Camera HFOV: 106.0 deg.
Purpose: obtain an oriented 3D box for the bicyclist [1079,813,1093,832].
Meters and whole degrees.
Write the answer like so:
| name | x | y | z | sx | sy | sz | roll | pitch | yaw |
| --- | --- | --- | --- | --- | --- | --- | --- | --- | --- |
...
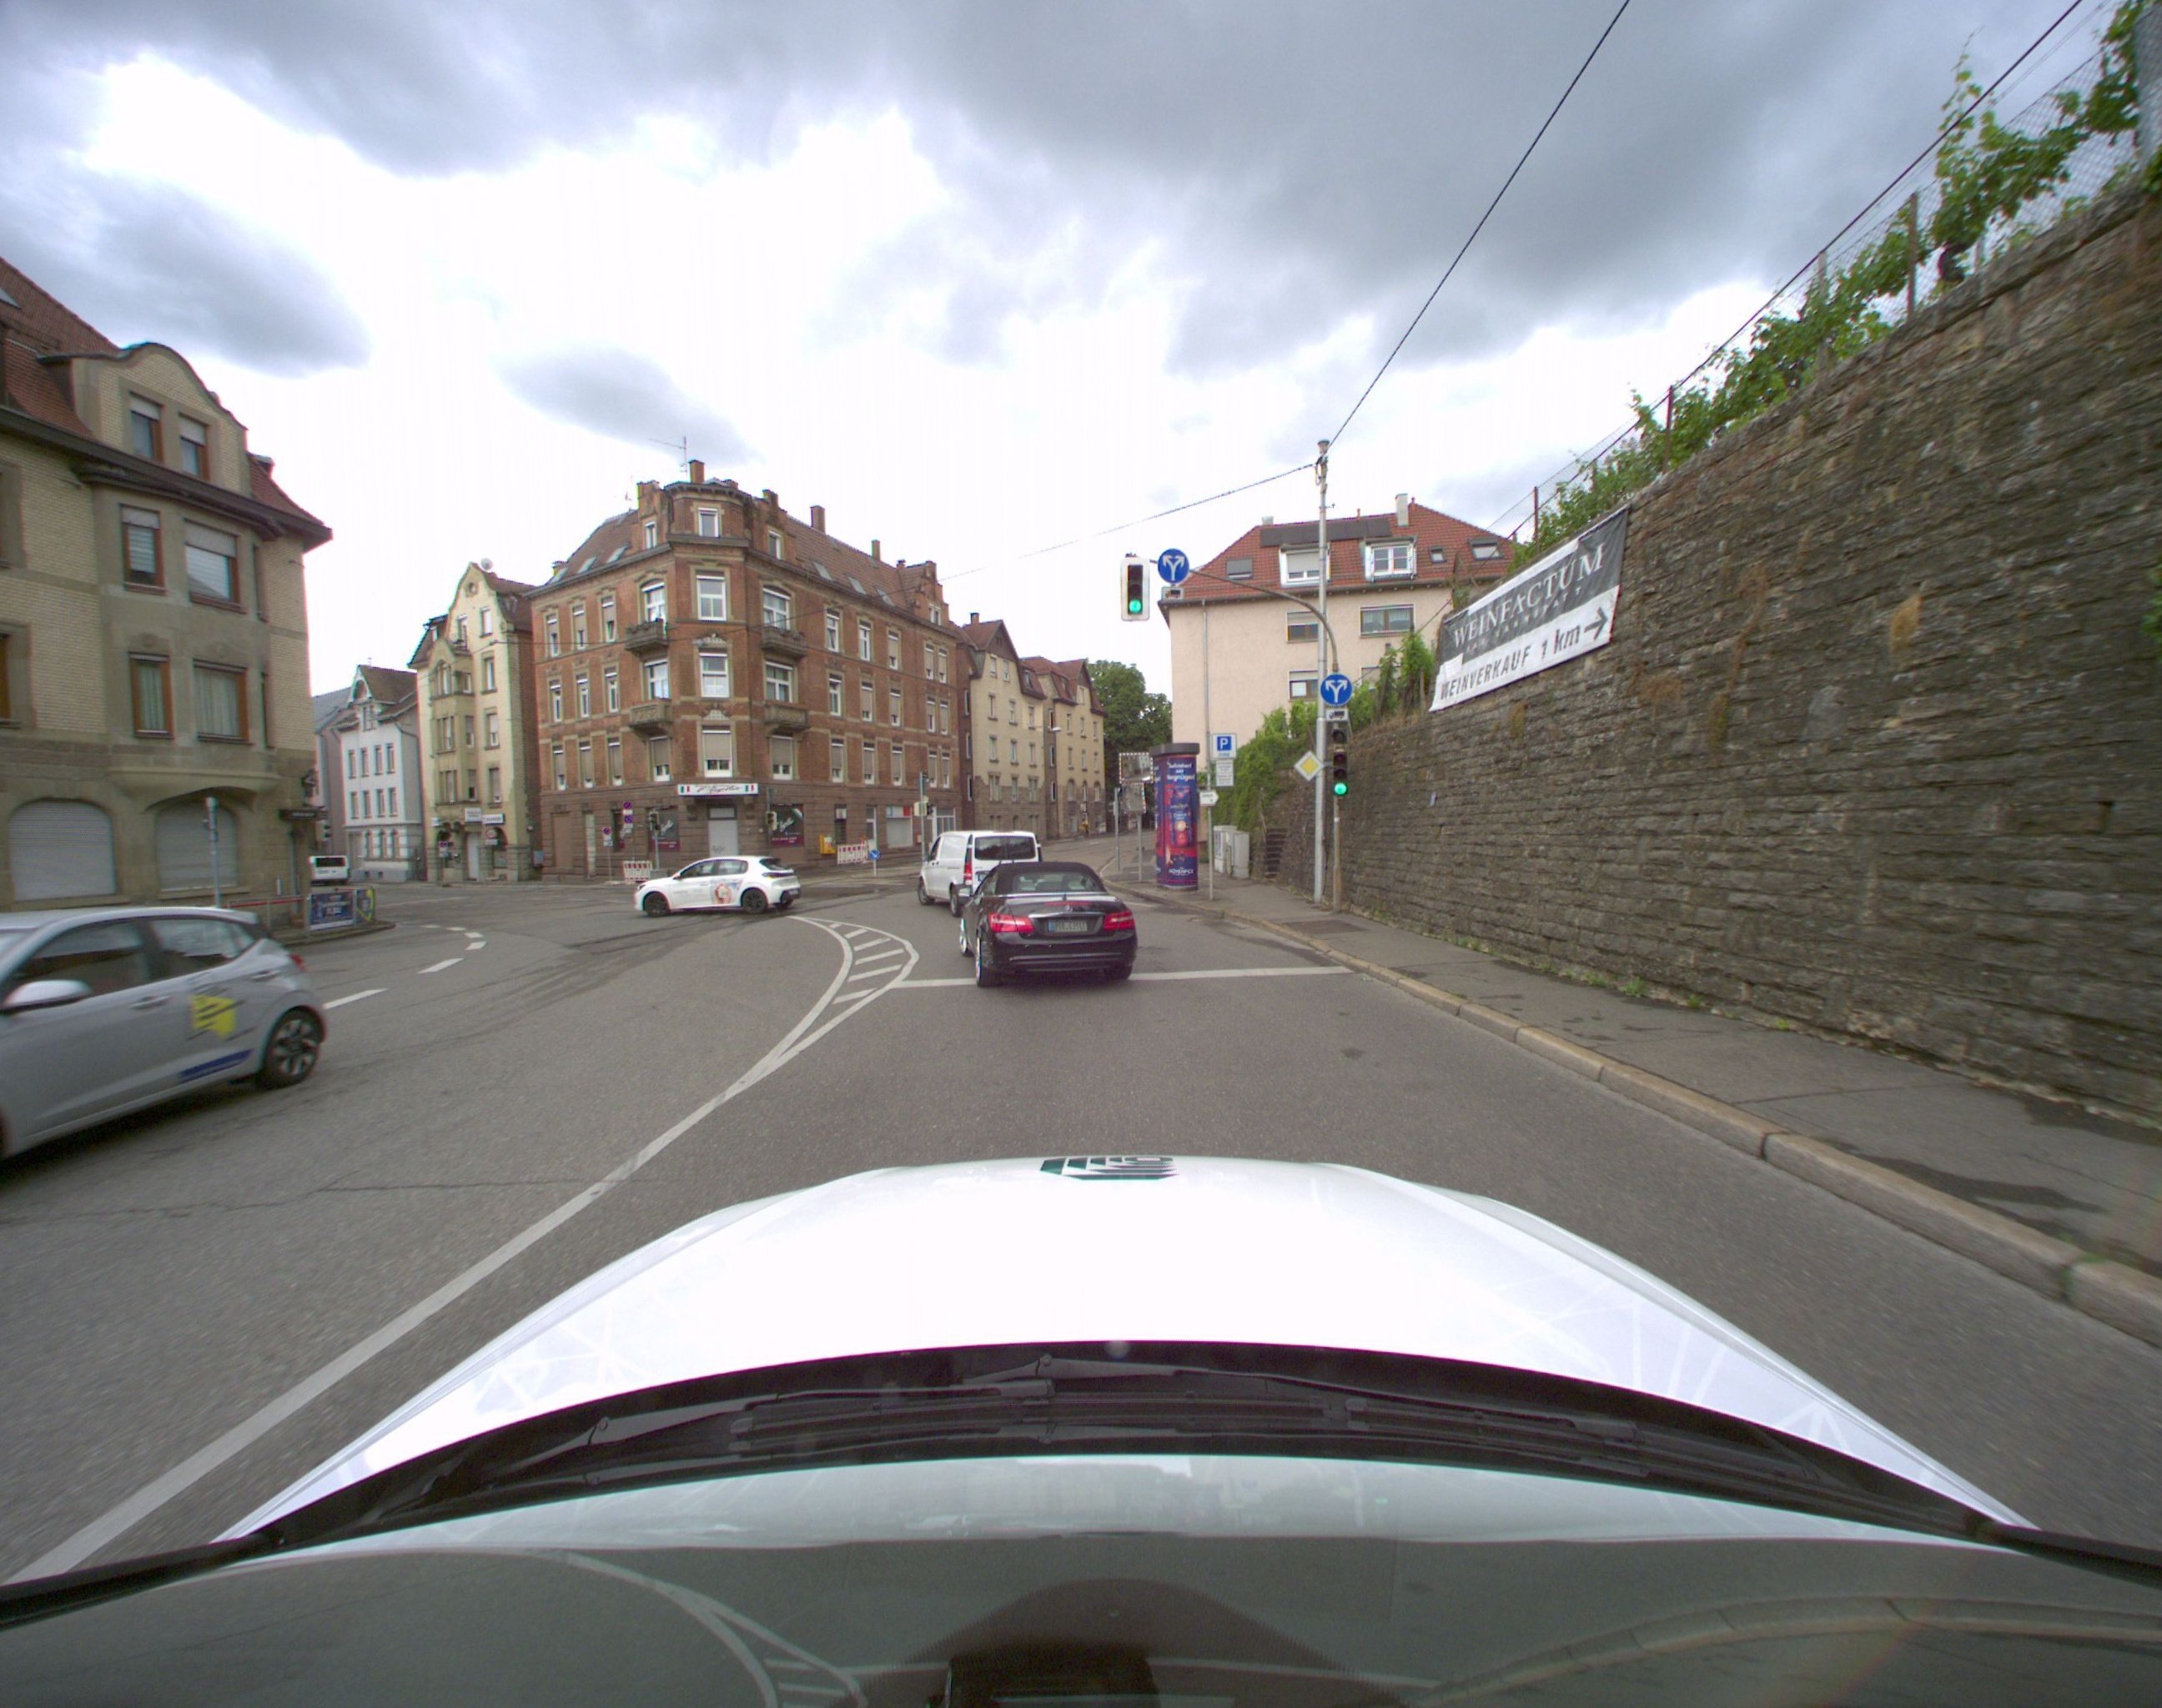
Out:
| name | x | y | z | sx | sy | sz | roll | pitch | yaw |
| --- | --- | --- | --- | --- | --- | --- | --- | --- | --- |
| bicyclist | 0.429 | -2.949 | 75.731 | 0.936 | 1.702 | 0.789 | -5 | 1 | 18 |

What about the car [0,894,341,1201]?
| name | x | y | z | sx | sy | sz | roll | pitch | yaw |
| --- | --- | --- | --- | --- | --- | --- | --- | --- | --- |
| car | -6.569 | 1.083 | 4.810 | 1.672 | 1.467 | 3.626 | -2 | 0 | -14 |

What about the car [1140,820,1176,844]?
| name | x | y | z | sx | sy | sz | roll | pitch | yaw |
| --- | --- | --- | --- | --- | --- | --- | --- | --- | --- |
| car | 6.477 | -1.864 | 68.065 | 1.933 | 1.718 | 4.021 | -4 | 1 | 20 |

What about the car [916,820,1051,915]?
| name | x | y | z | sx | sy | sz | roll | pitch | yaw |
| --- | --- | --- | --- | --- | --- | --- | --- | --- | --- |
| car | -2.449 | 0.292 | 19.335 | 1.900 | 1.929 | 4.609 | -2 | 0 | -23 |

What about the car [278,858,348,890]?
| name | x | y | z | sx | sy | sz | roll | pitch | yaw |
| --- | --- | --- | --- | --- | --- | --- | --- | --- | --- |
| car | -52.144 | 1.349 | 55.279 | 4.862 | 2.004 | 2.149 | -1 | 1 | 30 |

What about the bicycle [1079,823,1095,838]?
| name | x | y | z | sx | sy | sz | roll | pitch | yaw |
| --- | --- | --- | --- | --- | --- | --- | --- | --- | --- |
| bicycle | 0.579 | -2.225 | 76.032 | 0.626 | 1.306 | 2.612 | -5 | 2 | 19 |

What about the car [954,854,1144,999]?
| name | x | y | z | sx | sy | sz | roll | pitch | yaw |
| --- | --- | --- | --- | --- | --- | --- | --- | --- | --- |
| car | -0.650 | 0.760 | 10.639 | 1.763 | 1.409 | 4.381 | -2 | 0 | -12 |

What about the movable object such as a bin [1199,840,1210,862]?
| name | x | y | z | sx | sy | sz | roll | pitch | yaw |
| --- | --- | --- | --- | --- | --- | --- | --- | --- | --- |
| movable object such as a bin | 5.170 | -0.120 | 34.220 | 0.343 | 0.912 | 0.494 | -1 | 0 | -3 |

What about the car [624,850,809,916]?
| name | x | y | z | sx | sy | sz | roll | pitch | yaw |
| --- | --- | --- | --- | --- | --- | --- | --- | --- | --- |
| car | -9.204 | 0.720 | 20.731 | 3.886 | 1.466 | 1.689 | -2 | 0 | 5 |
